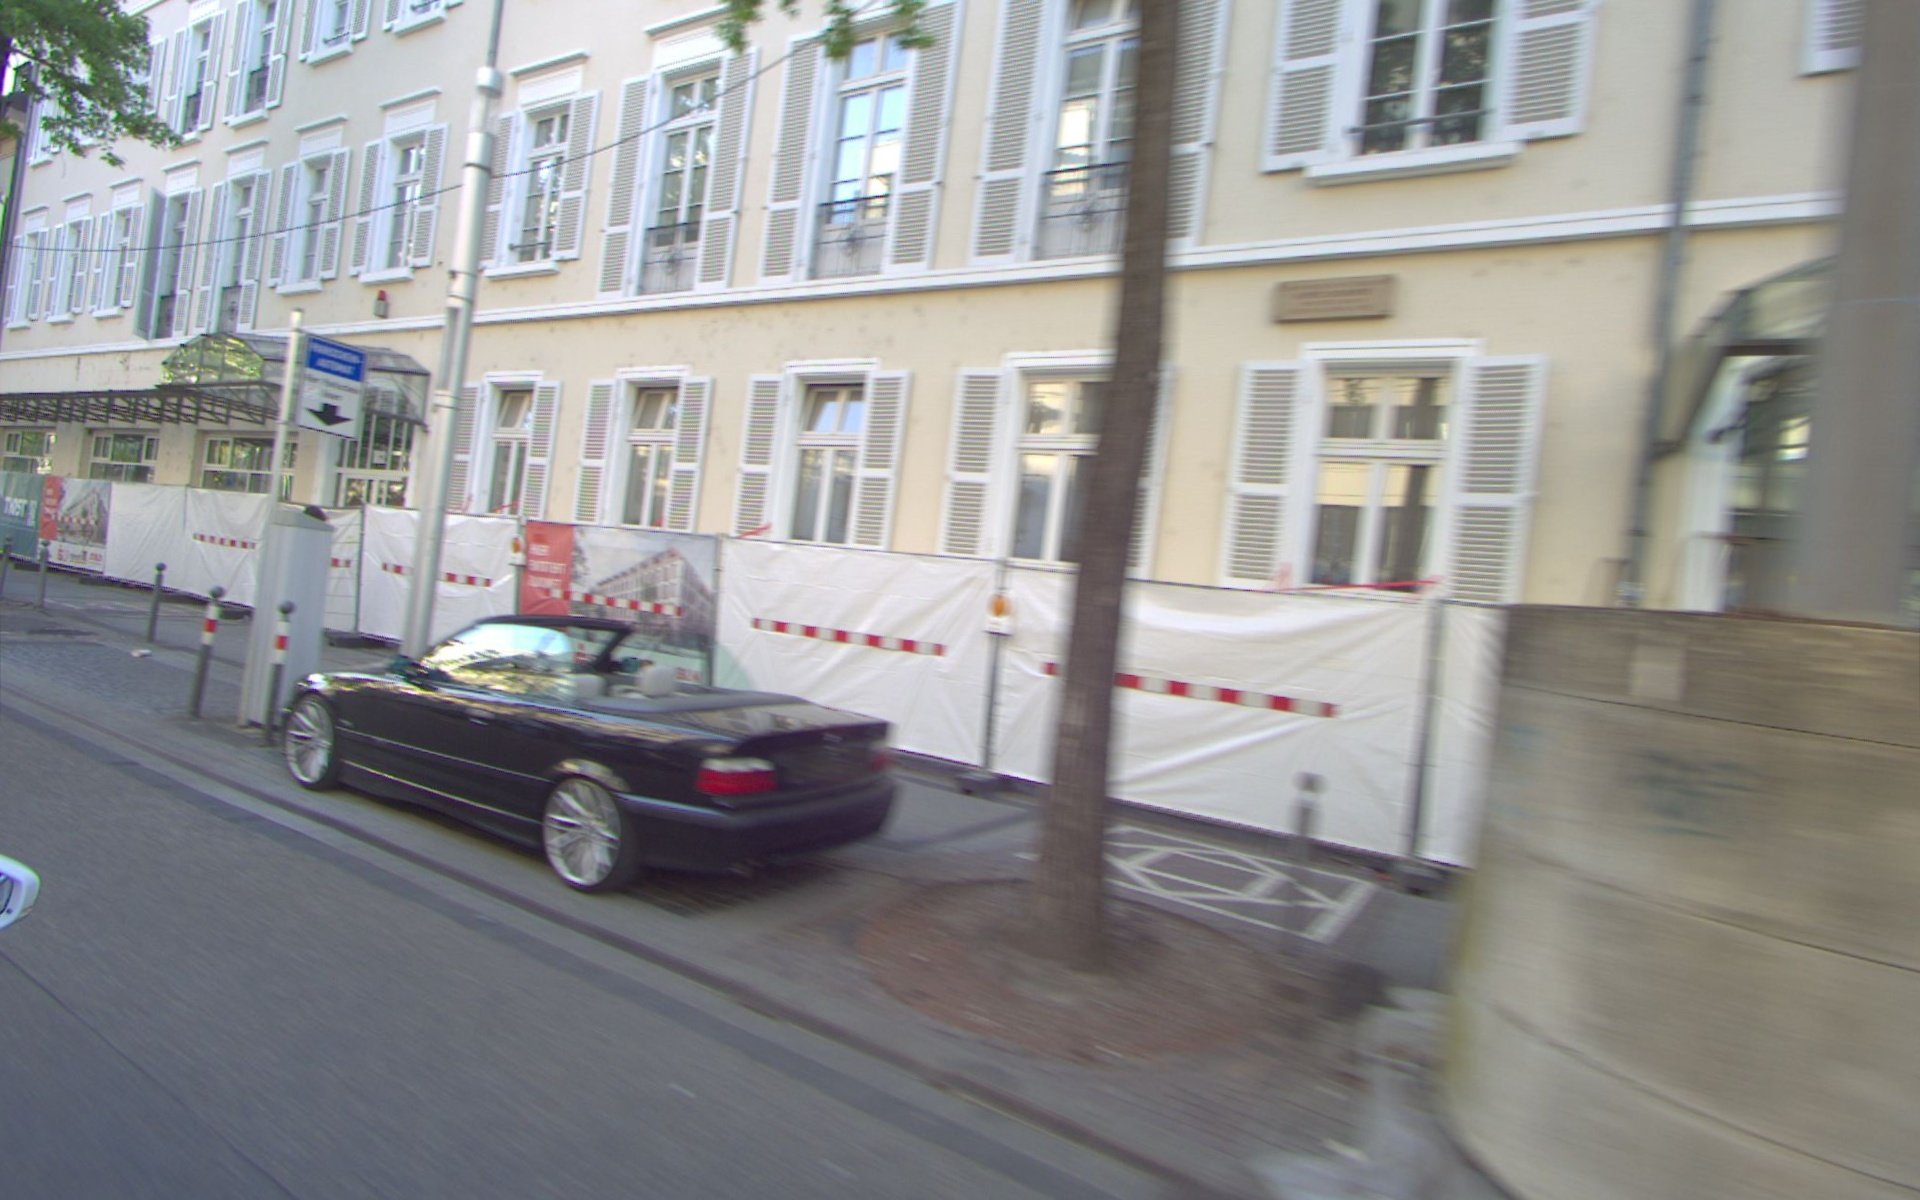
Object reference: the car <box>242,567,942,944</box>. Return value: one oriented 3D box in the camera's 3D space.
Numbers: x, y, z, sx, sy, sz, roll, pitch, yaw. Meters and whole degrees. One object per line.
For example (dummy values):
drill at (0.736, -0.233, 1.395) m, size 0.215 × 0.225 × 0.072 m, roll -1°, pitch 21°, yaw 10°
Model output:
car at (-2.429, 0.695, 6.281) m, size 4.258 × 1.328 × 1.795 m, roll 6°, pitch 1°, yaw 32°

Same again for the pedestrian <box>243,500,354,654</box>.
pedestrian at (-8.791, -0.305, 13.367) m, size 1.035 × 1.910 × 0.713 m, roll 7°, pitch 1°, yaw 32°
